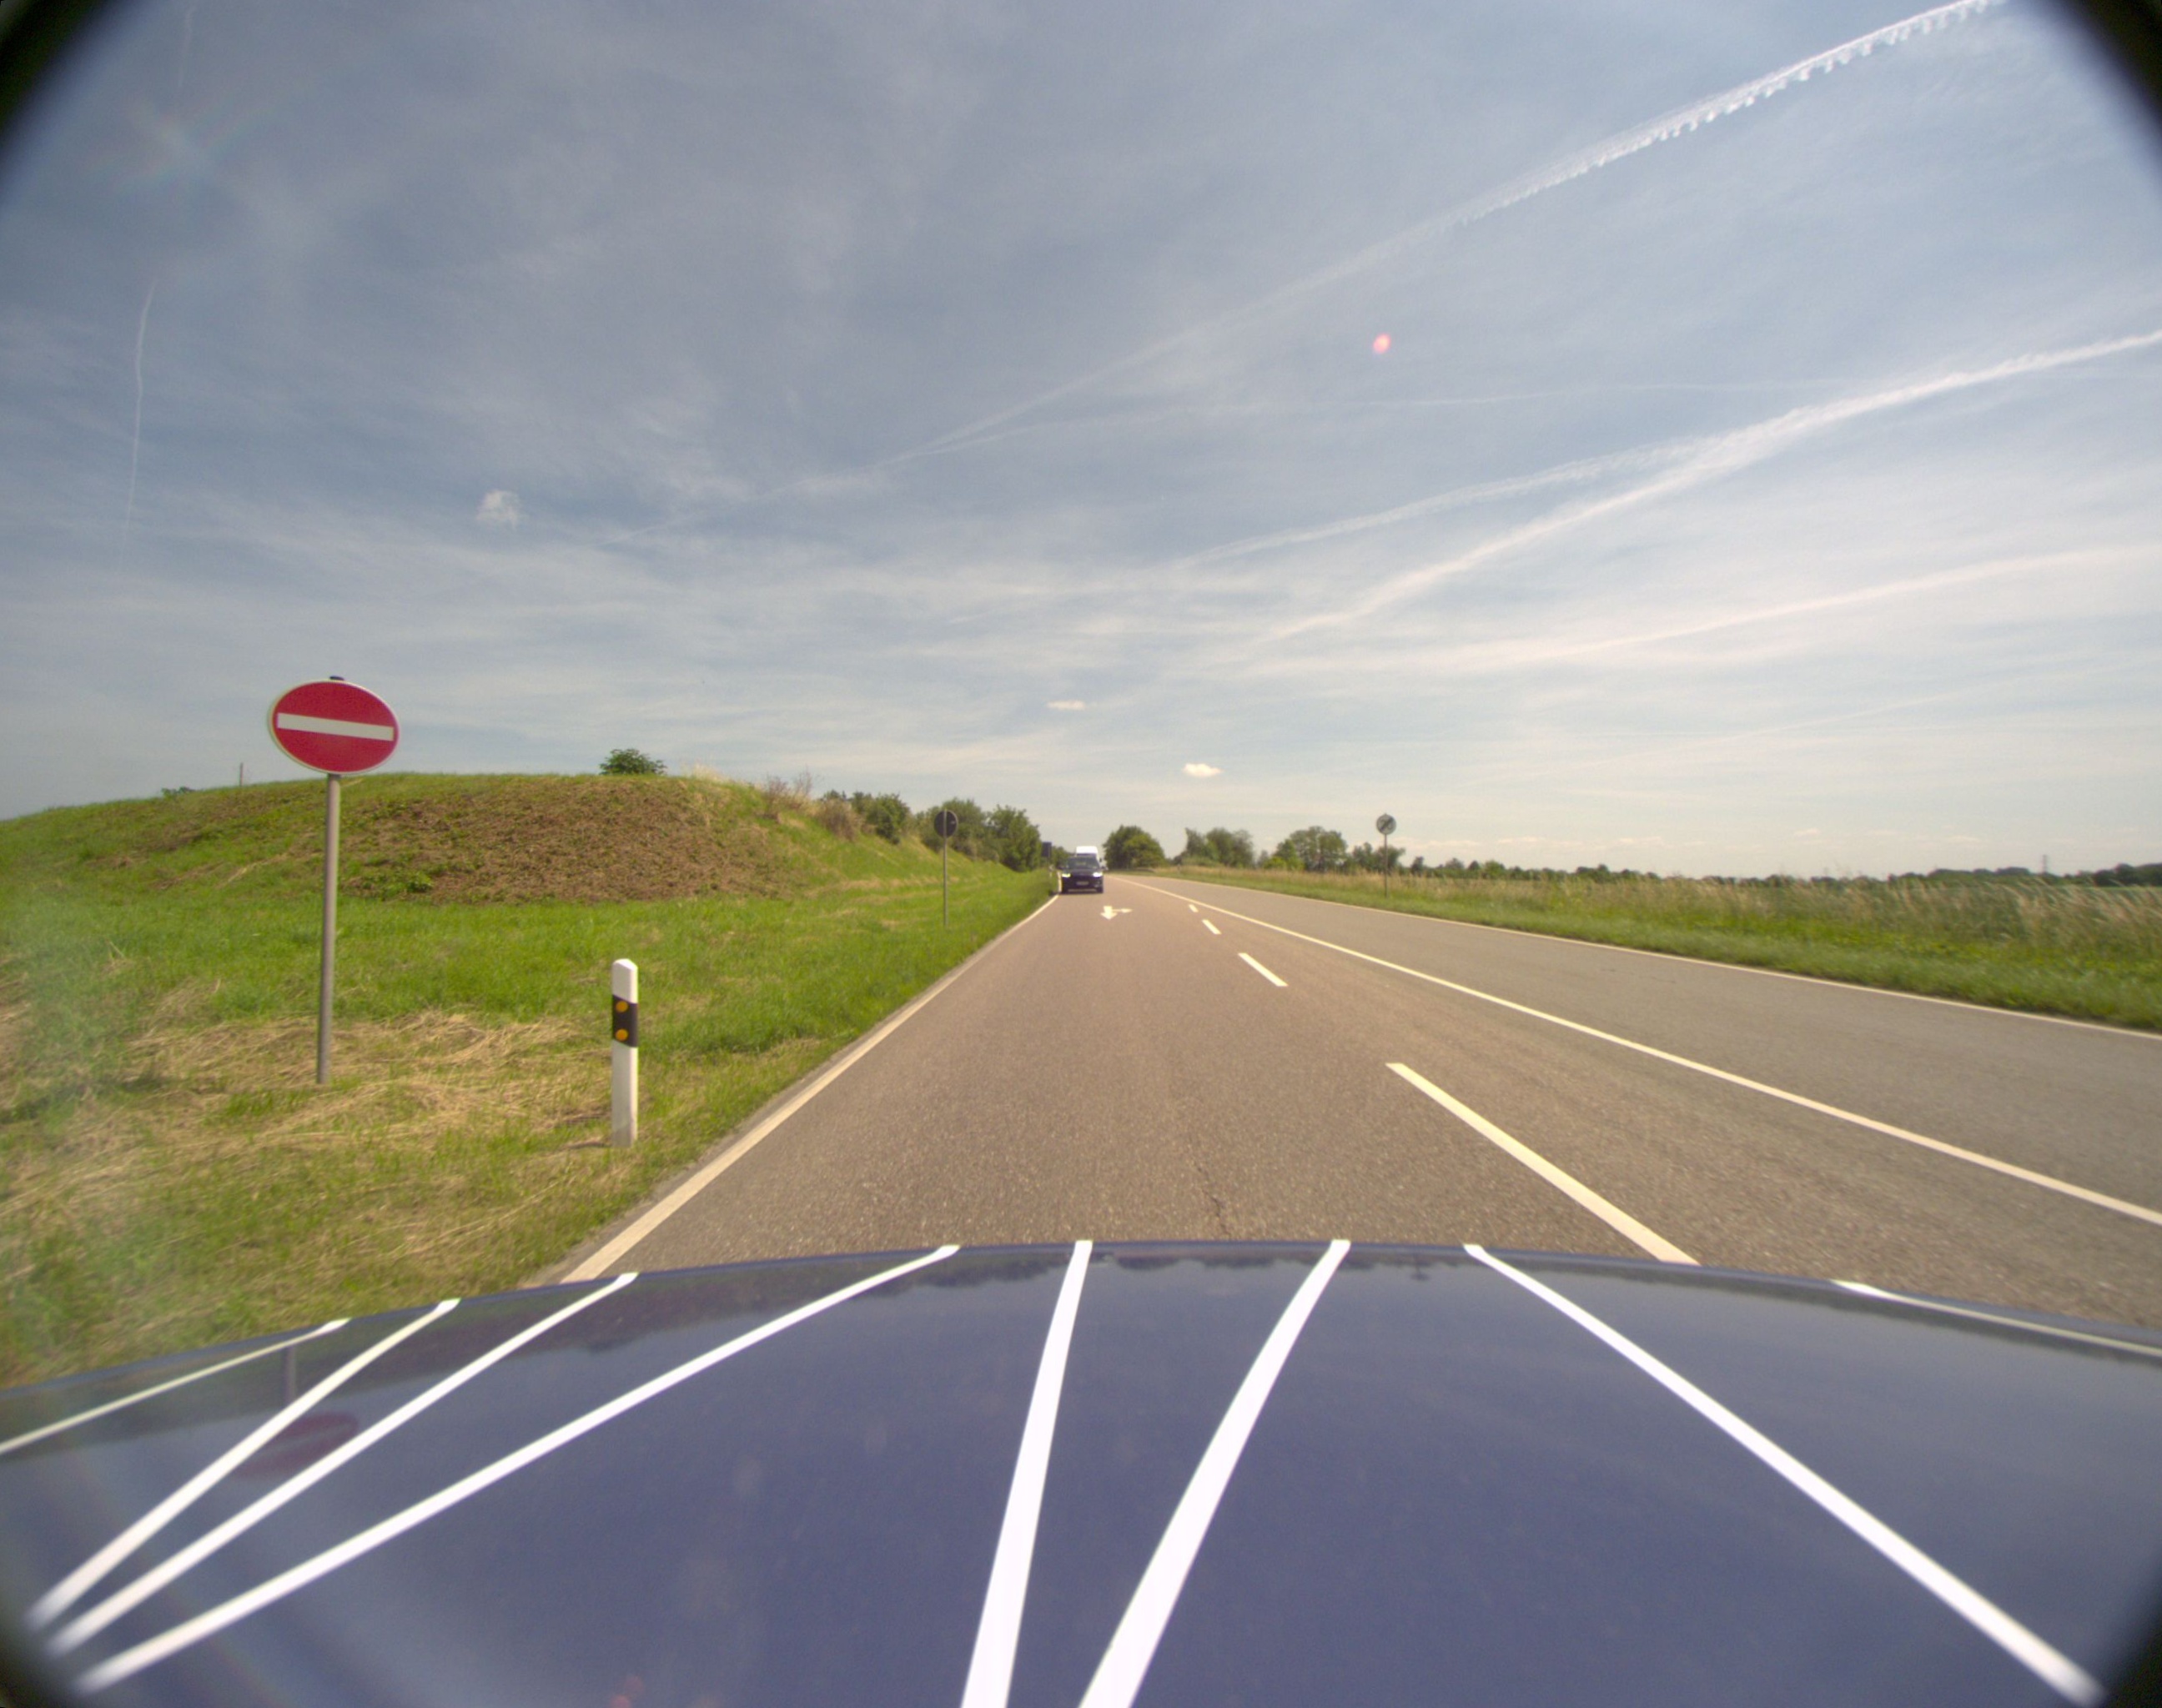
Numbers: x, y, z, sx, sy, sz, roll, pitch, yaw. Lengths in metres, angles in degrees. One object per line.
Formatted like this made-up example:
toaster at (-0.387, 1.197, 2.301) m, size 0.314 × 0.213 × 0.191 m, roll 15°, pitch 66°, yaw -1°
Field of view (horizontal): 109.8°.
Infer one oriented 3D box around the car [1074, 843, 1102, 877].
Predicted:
car at (0.537, 0.484, 63.128) m, size 2.226 × 2.617 × 5.752 m, roll 1°, pitch 0°, yaw 0°

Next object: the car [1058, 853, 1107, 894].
car at (0.097, 0.843, 35.161) m, size 2.039 × 1.691 × 5.513 m, roll -2°, pitch 0°, yaw 1°
